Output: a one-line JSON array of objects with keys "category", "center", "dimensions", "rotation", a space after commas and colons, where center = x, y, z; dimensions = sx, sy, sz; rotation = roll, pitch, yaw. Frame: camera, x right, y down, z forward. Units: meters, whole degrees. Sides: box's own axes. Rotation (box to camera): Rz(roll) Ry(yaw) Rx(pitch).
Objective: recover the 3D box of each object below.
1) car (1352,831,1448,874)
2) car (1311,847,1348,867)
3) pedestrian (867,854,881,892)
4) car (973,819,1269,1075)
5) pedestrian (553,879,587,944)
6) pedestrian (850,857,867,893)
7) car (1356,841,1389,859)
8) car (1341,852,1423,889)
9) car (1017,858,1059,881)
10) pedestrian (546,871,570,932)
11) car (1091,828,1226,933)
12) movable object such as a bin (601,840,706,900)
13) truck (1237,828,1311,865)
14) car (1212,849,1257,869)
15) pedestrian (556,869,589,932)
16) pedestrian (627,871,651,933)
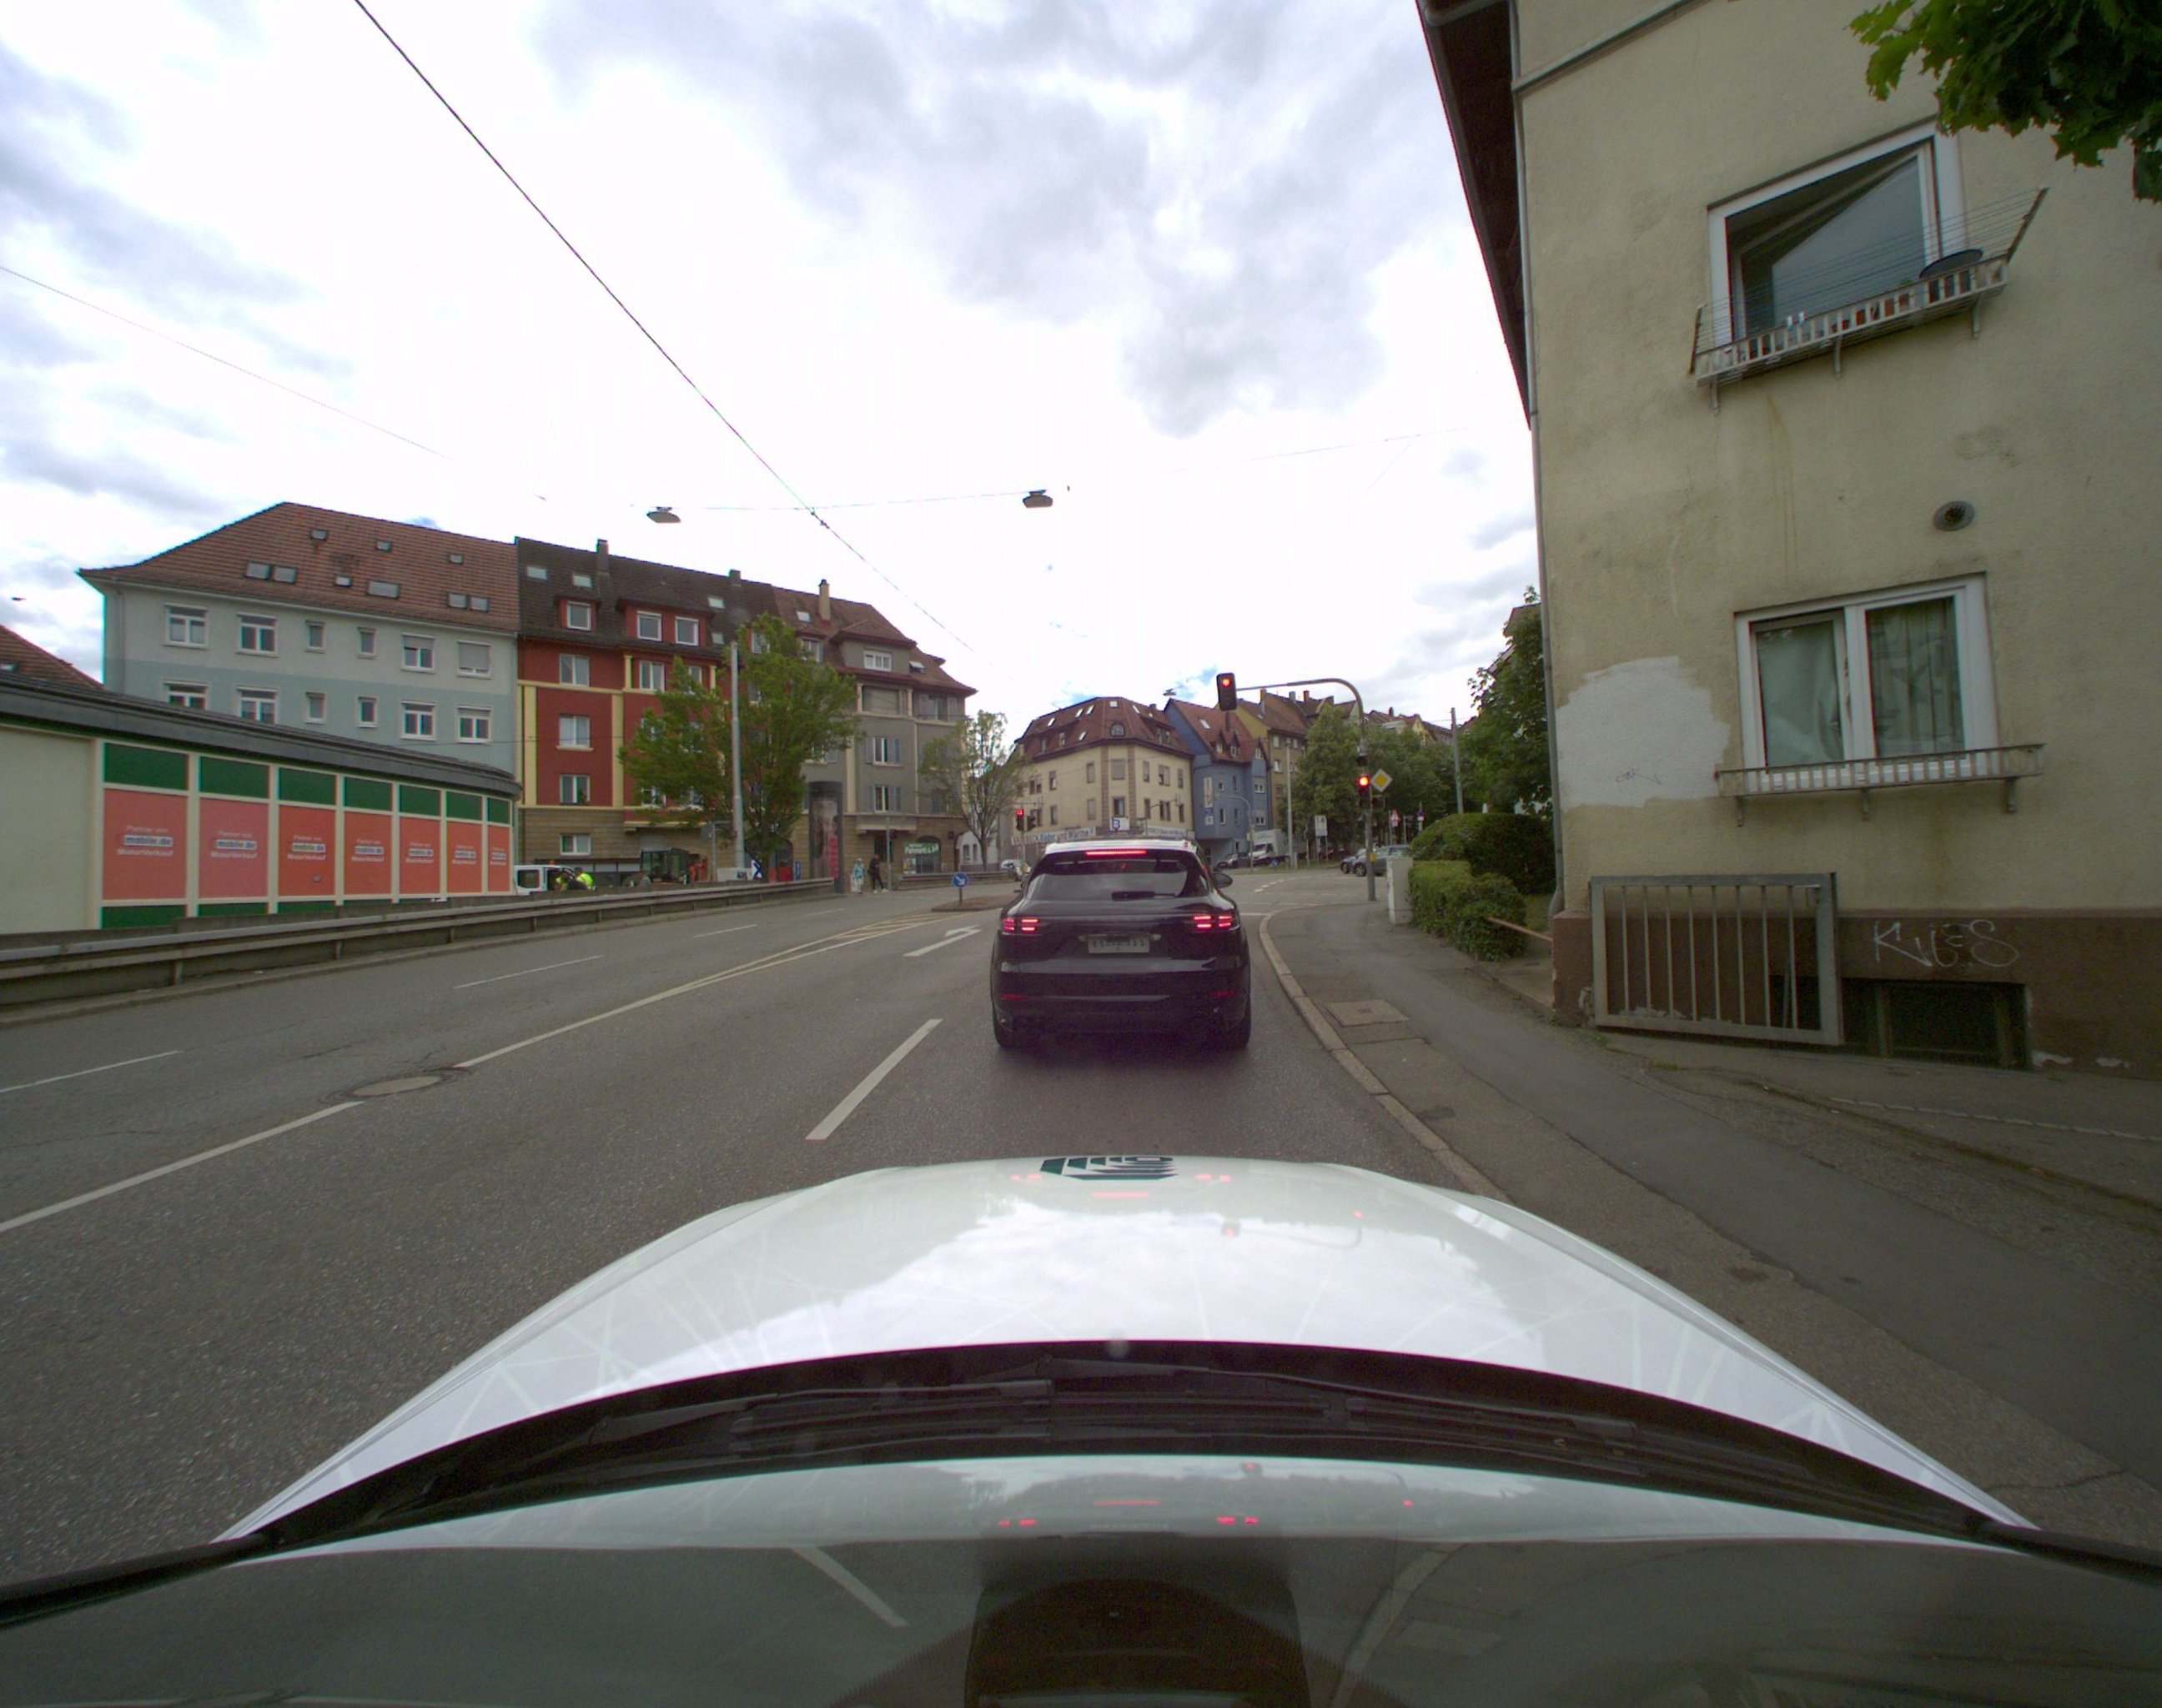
[{"category": "car", "center": [15.649, -0.015, 40.118], "dimensions": [2.007, 2.014, 3.959], "rotation": [1, -1, -33]}, {"category": "car", "center": [26.176, 0.356, 85.708], "dimensions": [1.975, 2.014, 4.023], "rotation": [0, -1, 45]}, {"category": "pedestrian", "center": [-9.591, 0.873, 37.760], "dimensions": [0.511, 1.730, 0.451], "rotation": [1, -1, 4]}, {"category": "car", "center": [0.246, 0.604, 7.511], "dimensions": [1.973, 1.684, 3.998], "rotation": [-1, 0, -1]}, {"category": "pedestrian", "center": [-13.706, 1.527, 21.847], "dimensions": [0.562, 1.700, 0.541], "rotation": [1, -1, -10]}, {"category": "pedestrian", "center": [-9.766, 0.928, 35.713], "dimensions": [0.587, 1.567, 0.486], "rotation": [1, -1, 1]}, {"category": "car", "center": [33.134, -0.436, 92.620], "dimensions": [1.975, 2.014, 4.023], "rotation": [0, -1, 45]}, {"category": "car", "center": [16.928, 0.938, 45.992], "dimensions": [2.007, 2.014, 3.959], "rotation": [1, -1, -33]}, {"category": "car", "center": [-3.157, 1.136, 60.433], "dimensions": [1.875, 1.579, 3.985], "rotation": [-2, -1, 15]}, {"category": "pedestrian", "center": [-15.226, 1.362, 23.715], "dimensions": [0.479, 1.730, 0.536], "rotation": [1, -1, -44]}, {"category": "car", "center": [1.583, 0.443, 15.159], "dimensions": [1.980, 1.684, 4.014], "rotation": [-1, 0, 12]}, {"category": "movable object such as a bin", "center": [-13.588, 0.481, 26.152], "dimensions": [1.903, 1.771, 3.984], "rotation": [1, 0, -11]}, {"category": "truck", "center": [18.643, -0.647, 78.212], "dimensions": [2.846, 3.340, 8.846], "rotation": [0, 0, 43]}, {"category": "car", "center": [13.521, 0.411, 71.645], "dimensions": [1.975, 1.684, 4.024], "rotation": [-2, -1, 44]}, {"category": "pedestrian", "center": [-14.408, 1.298, 23.075], "dimensions": [0.565, 1.761, 0.622], "rotation": [0, -1, 37]}, {"category": "pedestrian", "center": [-12.594, 1.362, 23.209], "dimensions": [0.545, 1.730, 0.587], "rotation": [1, -1, -33]}]
